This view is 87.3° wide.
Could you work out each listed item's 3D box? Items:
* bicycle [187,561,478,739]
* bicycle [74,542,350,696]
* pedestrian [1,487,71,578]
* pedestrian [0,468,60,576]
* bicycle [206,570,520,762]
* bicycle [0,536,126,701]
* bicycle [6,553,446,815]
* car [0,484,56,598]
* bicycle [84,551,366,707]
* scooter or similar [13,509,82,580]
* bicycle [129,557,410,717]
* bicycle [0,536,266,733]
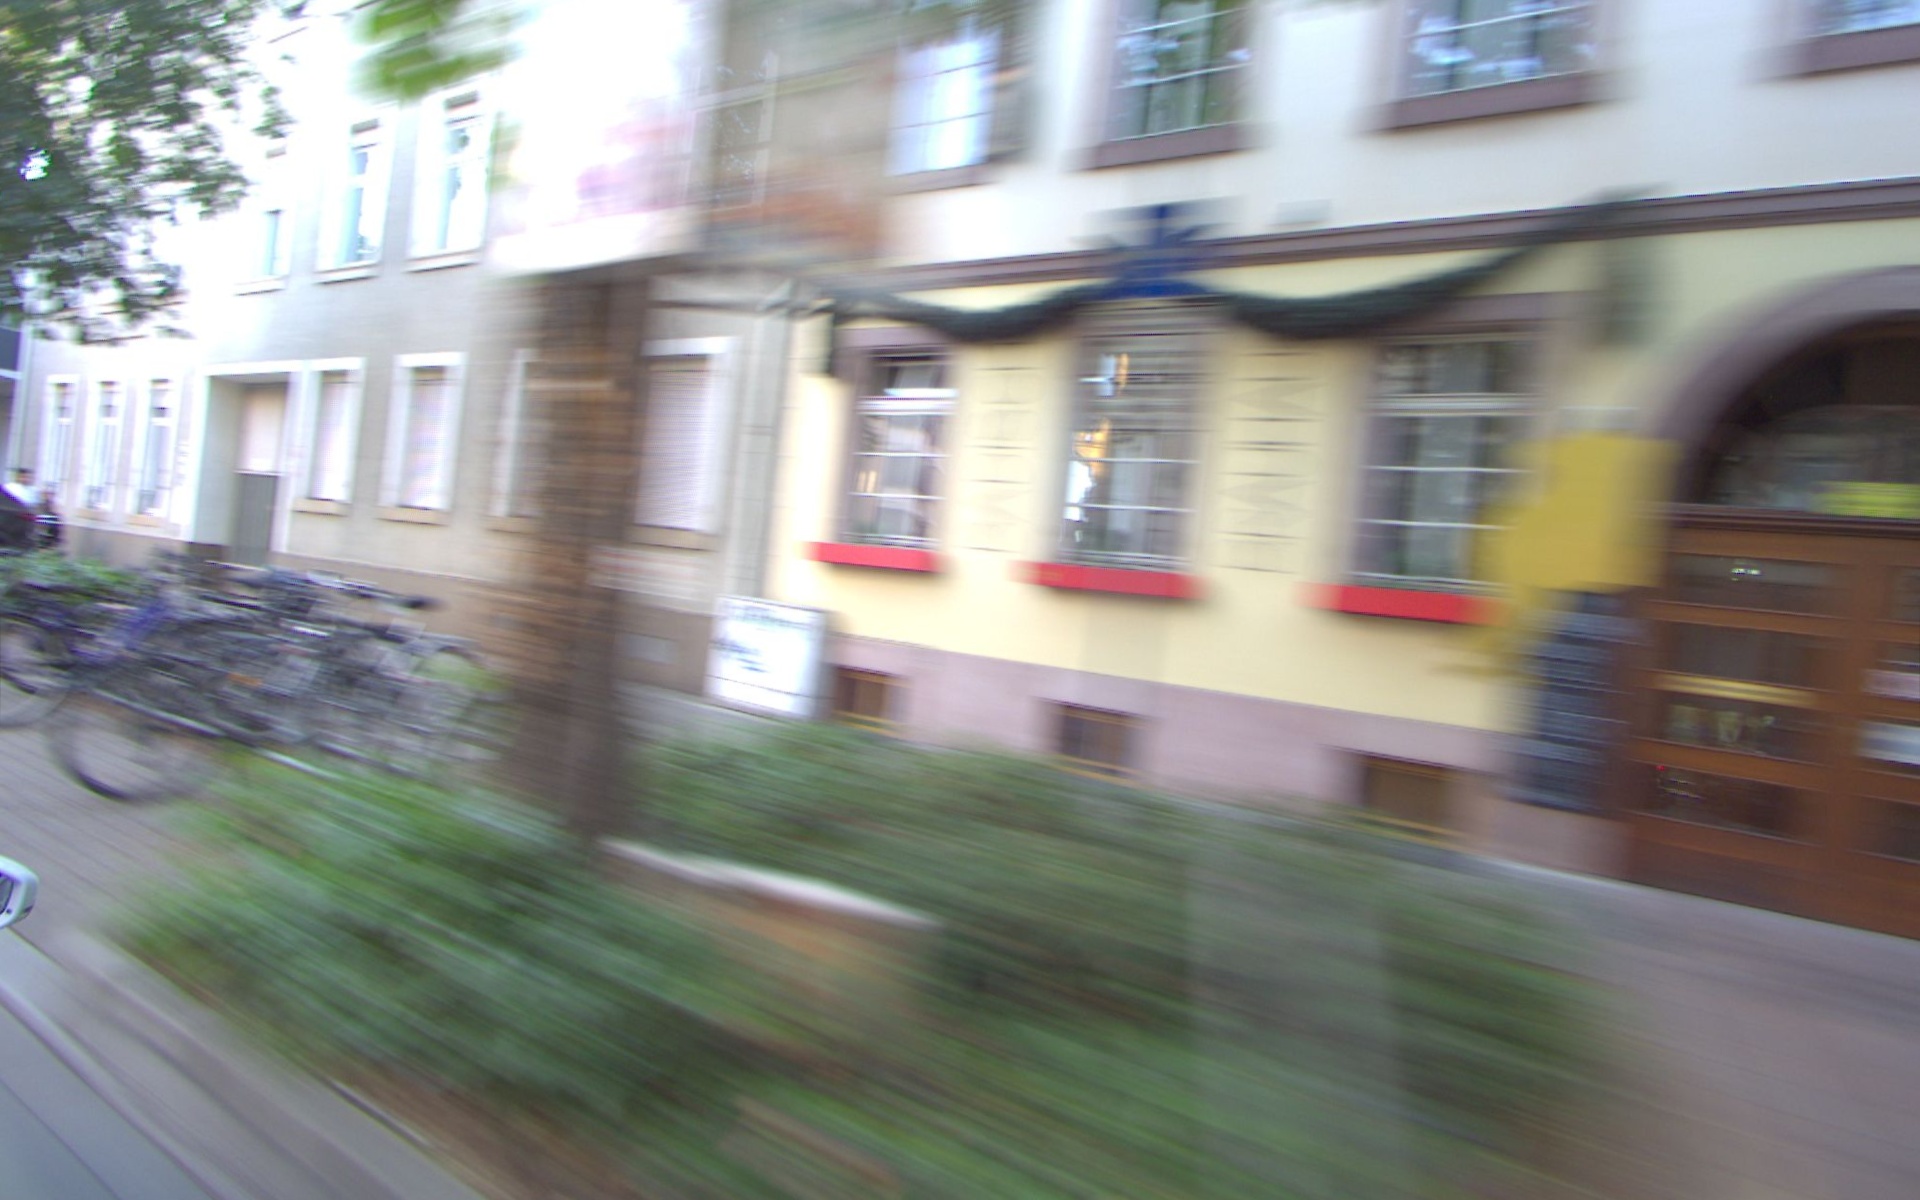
[{"bbox_3d":[-4.749,0.373,7.771,0.639,1.157,1.799,7,1,23],"label":"bicycle"},{"bbox_3d":[-6.464,0.180,8.824,0.657,1.157,1.799,7,1,22],"label":"bicycle"},{"bbox_3d":[-17.050,-1.238,18.563,0.817,1.556,0.655,7,1,32],"label":"pedestrian"},{"bbox_3d":[-16.135,-1.326,17.235,0.661,1.759,0.691,6,1,0],"label":"pedestrian"},{"bbox_3d":[-4.164,0.448,7.191,0.652,1.143,1.798,7,1,25],"label":"bicycle"},{"bbox_3d":[-7.204,0.105,7.099,0.731,1.150,1.842,7,1,21],"label":"bicycle"},{"bbox_3d":[-4.017,0.440,5.690,0.661,1.193,1.832,7,1,30],"label":"bicycle"},{"bbox_3d":[-16.113,-1.110,14.312,1.868,1.676,4.430,7,0,32],"label":"car"},{"bbox_3d":[-5.983,0.252,8.323,0.491,1.121,1.798,7,1,26],"label":"bicycle"},{"bbox_3d":[-16.545,-0.998,18.239,0.817,1.168,0.655,6,1,32],"label":"scooter or similar"},{"bbox_3d":[-5.497,0.306,8.146,0.491,1.121,1.798,7,1,26],"label":"bicycle"},{"bbox_3d":[-5.878,0.229,6.781,0.590,1.193,1.832,7,1,30],"label":"bicycle"}]
